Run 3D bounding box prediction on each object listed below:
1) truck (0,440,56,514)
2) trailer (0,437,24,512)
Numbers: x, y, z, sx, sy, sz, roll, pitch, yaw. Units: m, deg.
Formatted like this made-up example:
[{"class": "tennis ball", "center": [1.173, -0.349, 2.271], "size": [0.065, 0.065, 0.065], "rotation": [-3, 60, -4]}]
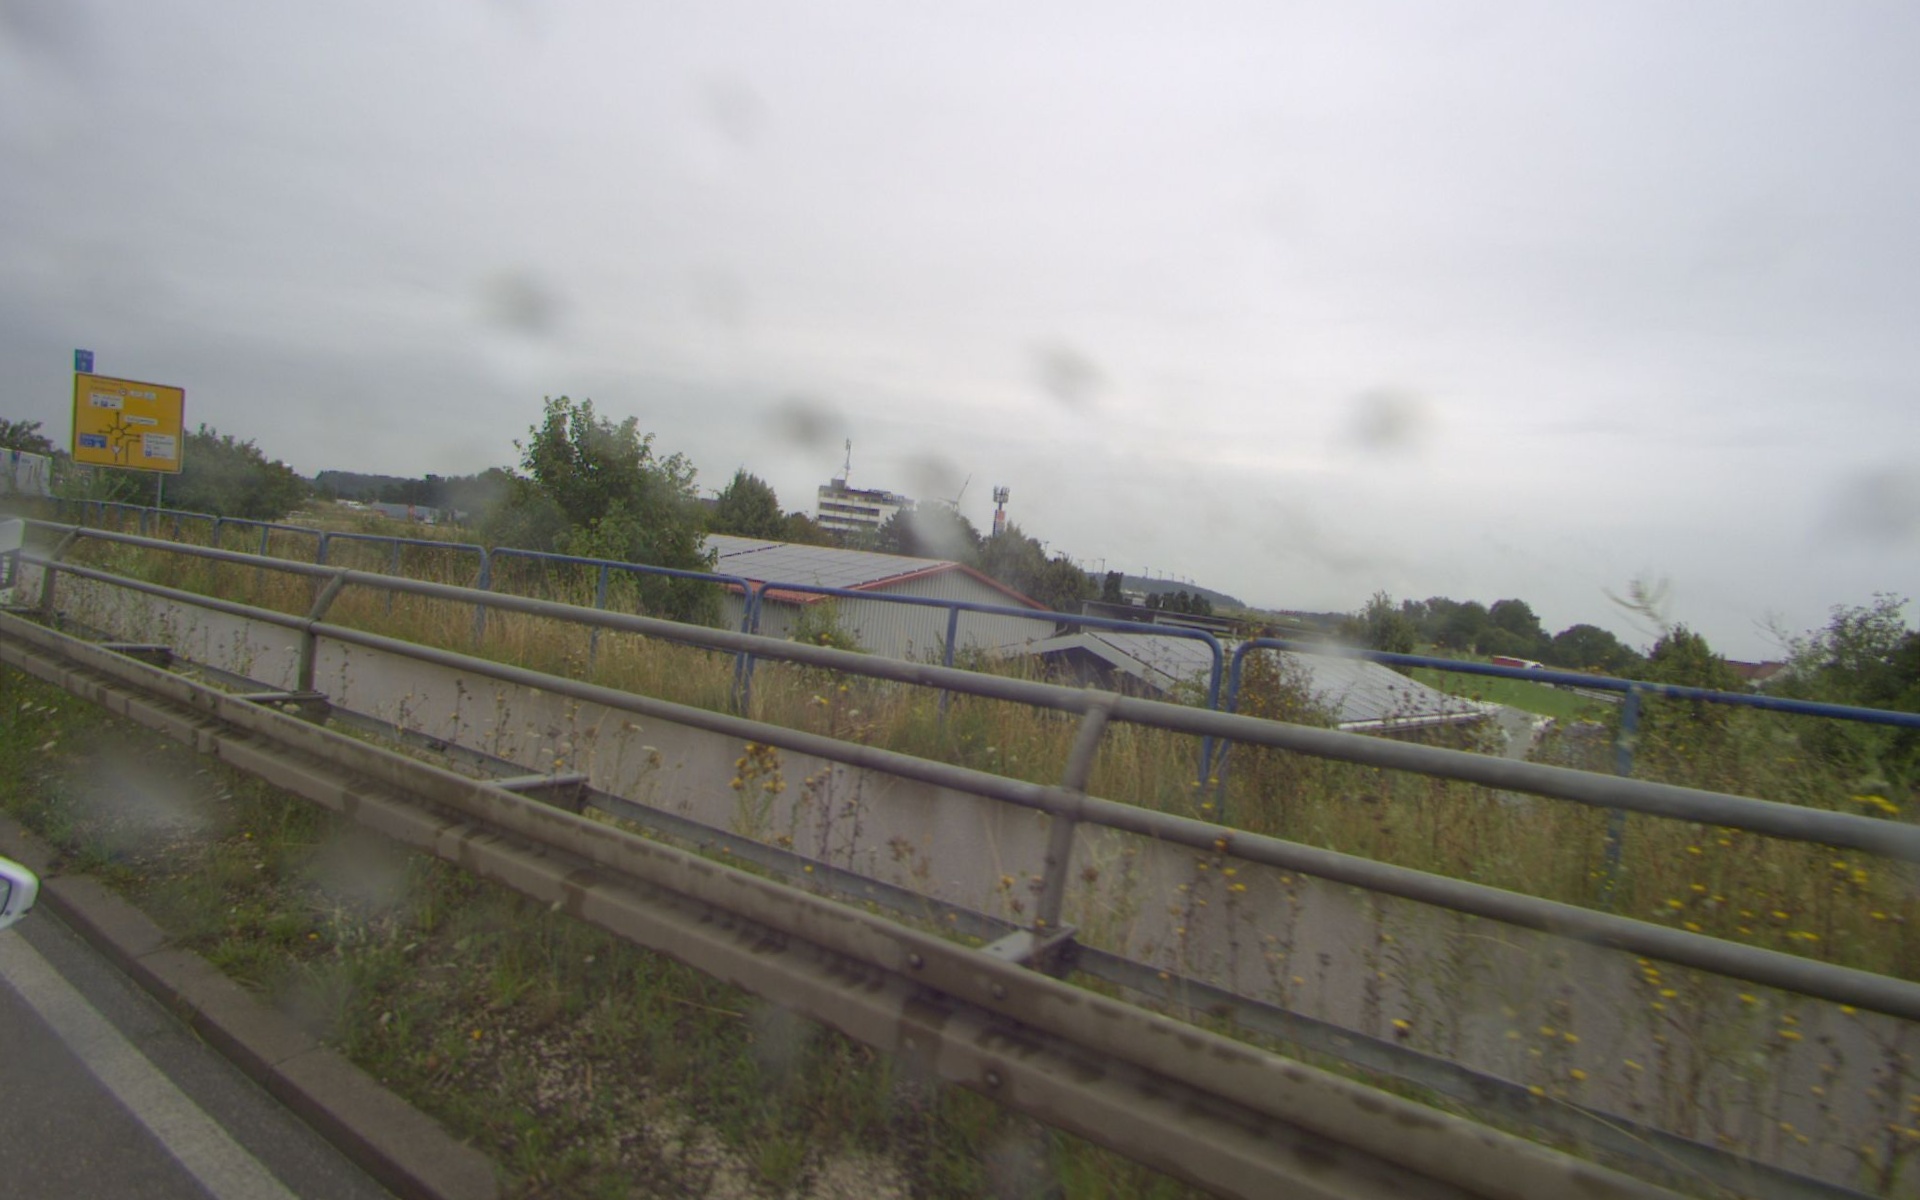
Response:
[{"class": "truck", "center": [-58.780, -7.594, 61.782], "size": [3.181, 3.968, 8.663], "rotation": [8, -1, -33]}, {"class": "trailer", "center": [-54.103, -7.114, 54.455], "size": [3.181, 3.968, 8.663], "rotation": [8, -1, -33]}]
